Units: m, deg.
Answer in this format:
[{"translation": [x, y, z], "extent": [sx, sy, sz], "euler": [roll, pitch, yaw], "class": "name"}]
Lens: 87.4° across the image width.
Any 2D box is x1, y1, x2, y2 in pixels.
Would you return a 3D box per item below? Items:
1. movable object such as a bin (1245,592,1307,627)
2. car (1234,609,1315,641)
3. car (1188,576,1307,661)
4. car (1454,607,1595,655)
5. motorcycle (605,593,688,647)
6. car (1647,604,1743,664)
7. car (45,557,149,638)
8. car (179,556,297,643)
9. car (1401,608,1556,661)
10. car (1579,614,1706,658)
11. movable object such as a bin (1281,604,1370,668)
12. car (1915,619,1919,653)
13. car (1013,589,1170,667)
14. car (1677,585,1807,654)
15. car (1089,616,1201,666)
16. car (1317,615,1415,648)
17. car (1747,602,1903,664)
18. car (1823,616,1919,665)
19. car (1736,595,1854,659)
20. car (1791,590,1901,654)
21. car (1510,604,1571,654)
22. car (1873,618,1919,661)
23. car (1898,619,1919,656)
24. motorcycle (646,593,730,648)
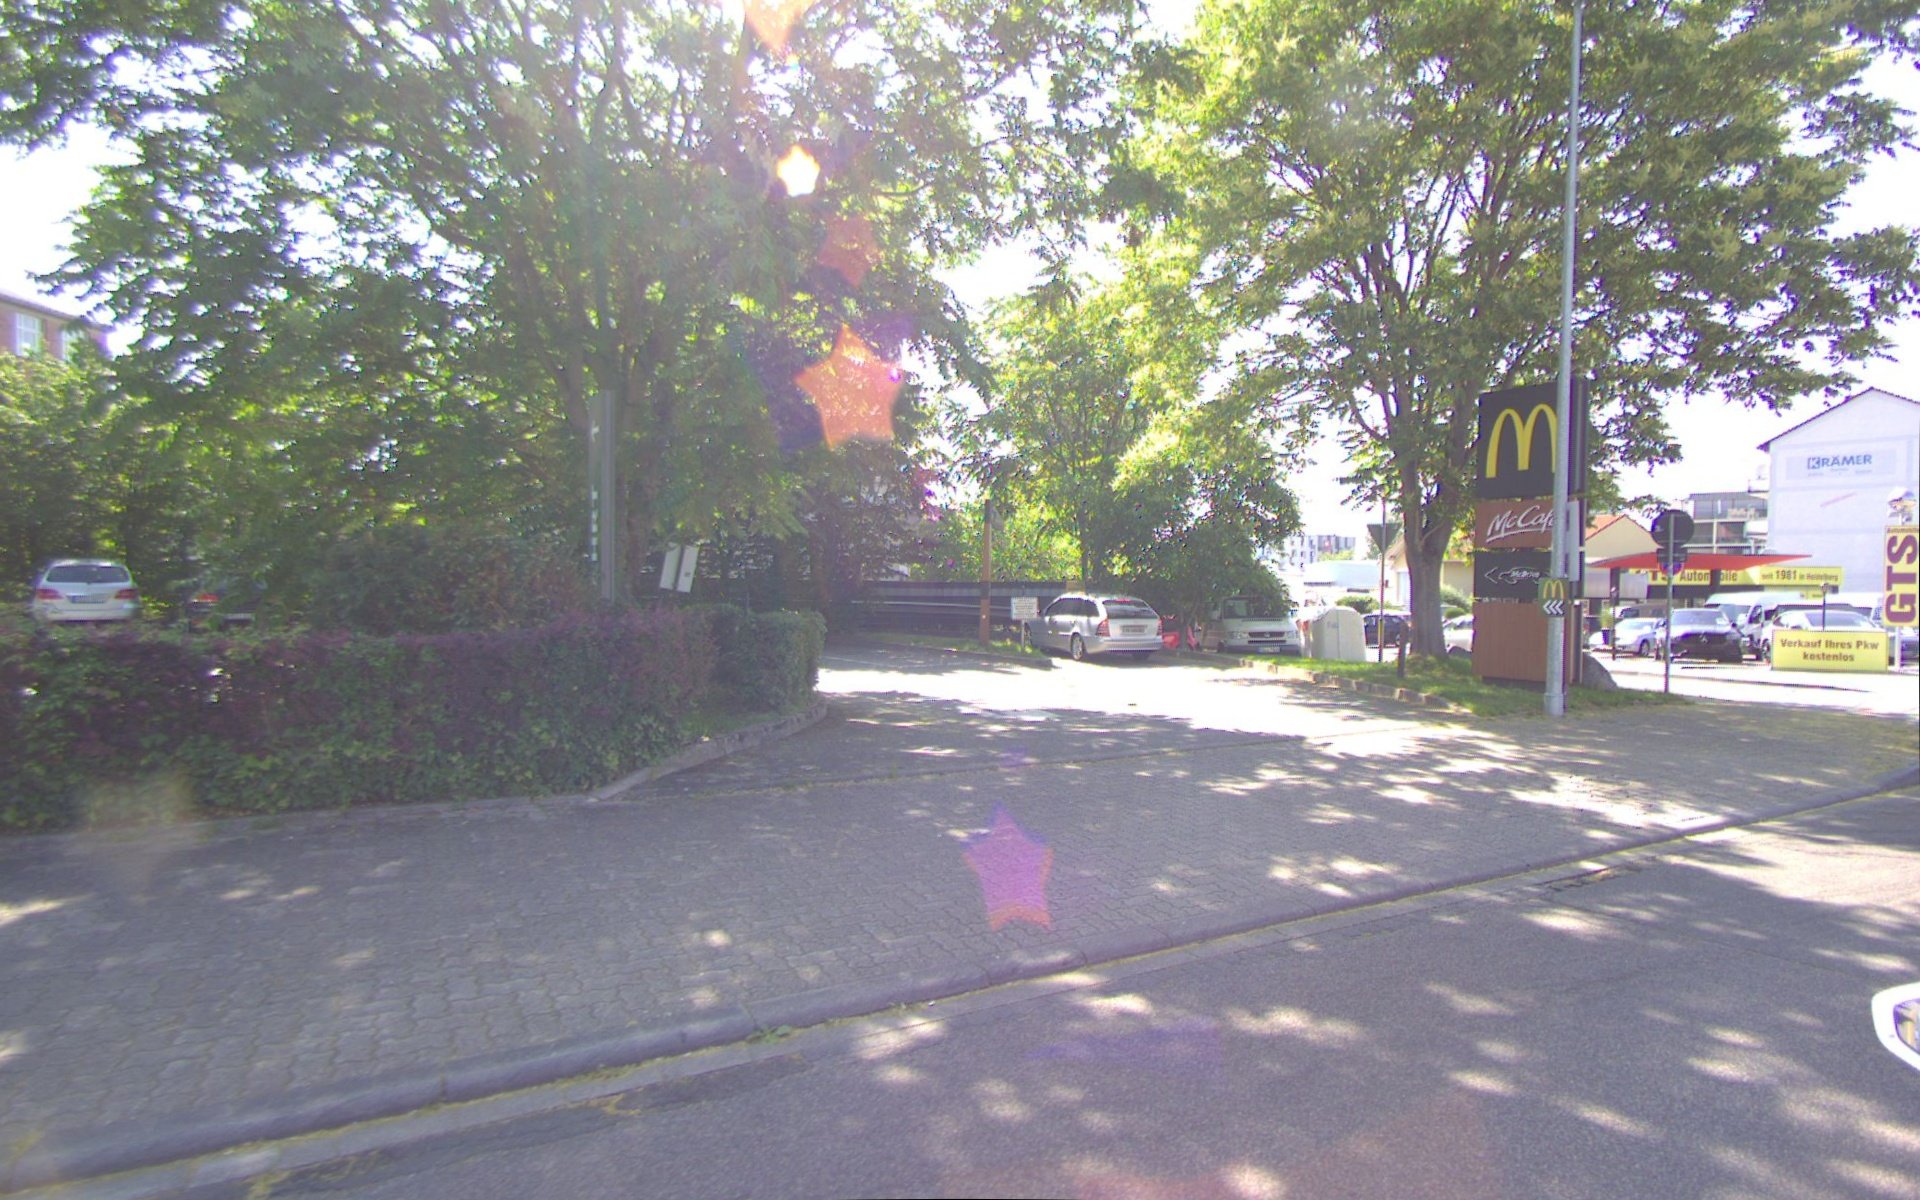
[{"translation": [27.570, 0.844, 87.767], "extent": [4.741, 2.945, 1.999], "euler": [1, 0, -4], "class": "movable object such as a bin"}, {"translation": [18.509, 1.468, 59.185], "extent": [4.096, 1.773, 1.889], "euler": [1, 0, -10], "class": "car"}, {"translation": [7.221, 0.542, 25.737], "extent": [1.855, 1.945, 4.527], "euler": [-1, -3, 2], "class": "car"}, {"translation": [23.612, 1.277, 42.217], "extent": [4.794, 1.867, 2.163], "euler": [1, 0, 16], "class": "car"}, {"translation": [-7.188, 0.438, 22.965], "extent": [2.146, 1.131, 0.568], "euler": [3, 2, 34], "class": "motorcycle"}, {"translation": [22.892, 1.072, 31.428], "extent": [2.013, 1.729, 4.306], "euler": [0, -2, 31], "class": "car"}, {"translation": [-19.215, -0.102, 22.326], "extent": [1.631, 1.609, 3.801], "euler": [1, 2, -42], "class": "car"}, {"translation": [-16.154, -0.066, 22.403], "extent": [1.788, 1.755, 3.975], "euler": [1, 2, -41], "class": "car"}, {"translation": [16.086, 1.032, 31.451], "extent": [1.655, 1.513, 4.591], "euler": [1, 0, -16], "class": "car"}, {"translation": [26.437, 1.361, 38.906], "extent": [4.621, 1.596, 1.904], "euler": [1, 0, -24], "class": "car"}, {"translation": [9.463, 0.925, 26.087], "extent": [1.429, 1.546, 1.772], "euler": [-2, -1, -11], "class": "movable object such as a bin"}, {"translation": [42.008, 1.519, 42.022], "extent": [1.640, 1.492, 3.998], "euler": [-1, -2, 23], "class": "car"}, {"translation": [2.794, 0.526, 22.422], "extent": [1.688, 1.423, 4.366], "euler": [0, 3, -20], "class": "car"}, {"translation": [33.809, 0.876, 43.375], "extent": [6.079, 2.794, 2.266], "euler": [2, -1, -30], "class": "car"}, {"translation": [6.123, 1.343, 33.517], "extent": [3.341, 1.485, 1.693], "euler": [-2, 0, -4], "class": "car"}, {"translation": [19.661, 1.513, 48.734], "extent": [4.058, 1.508, 1.867], "euler": [1, 0, -10], "class": "car"}, {"translation": [26.051, 1.060, 30.478], "extent": [1.942, 1.729, 4.666], "euler": [0, -3, 19], "class": "car"}, {"translation": [30.014, 1.307, 32.955], "extent": [1.809, 1.492, 3.992], "euler": [-2, -2, 30], "class": "car"}, {"translation": [33.033, 1.093, 39.702], "extent": [4.771, 2.381, 2.233], "euler": [2, -1, -32], "class": "car"}, {"translation": [38.211, 0.964, 43.271], "extent": [5.664, 2.463, 2.230], "euler": [2, 3, -36], "class": "car"}, {"translation": [20.909, 1.010, 36.312], "extent": [1.777, 1.678, 4.308], "euler": [0, -1, 28], "class": "car"}, {"translation": [34.558, 1.378, 36.057], "extent": [1.810, 1.492, 3.992], "euler": [-2, -2, 30], "class": "car"}, {"translation": [38.783, 1.463, 39.497], "extent": [1.753, 1.492, 3.995], "euler": [-2, -2, 28], "class": "car"}, {"translation": [-6.317, 0.458, 23.271], "extent": [2.146, 1.147, 0.568], "euler": [3, 2, 34], "class": "motorcycle"}]
